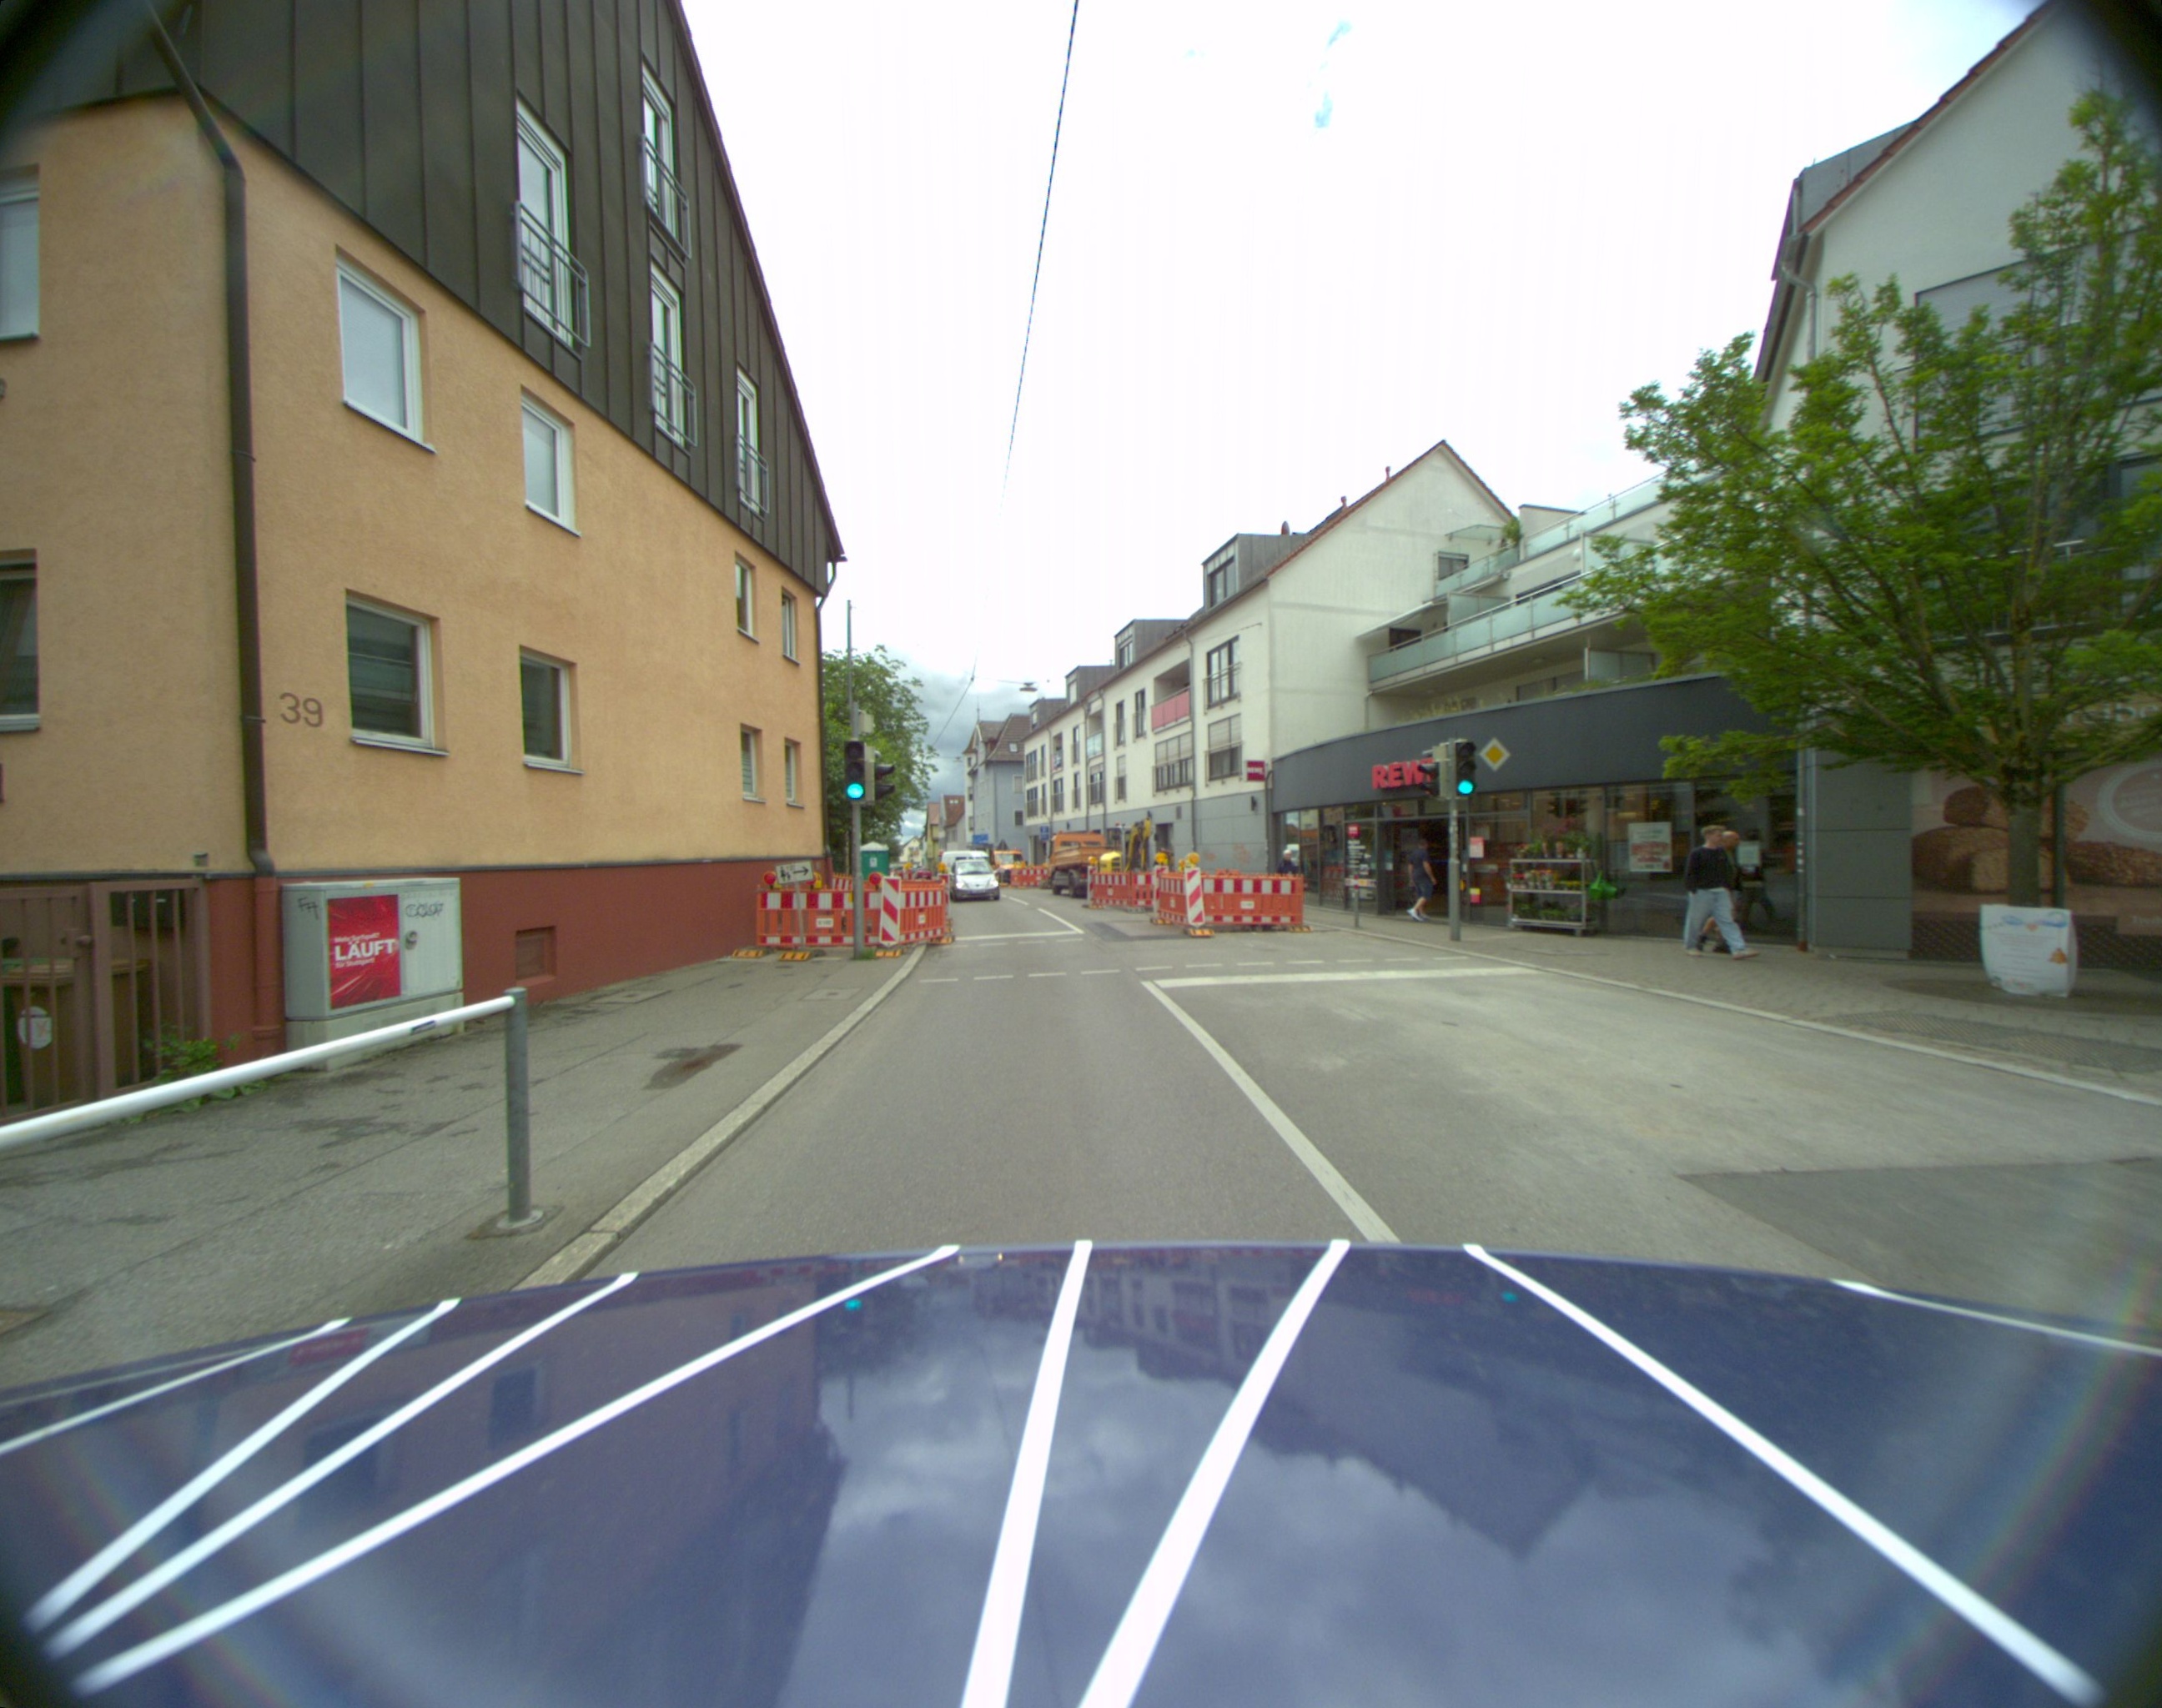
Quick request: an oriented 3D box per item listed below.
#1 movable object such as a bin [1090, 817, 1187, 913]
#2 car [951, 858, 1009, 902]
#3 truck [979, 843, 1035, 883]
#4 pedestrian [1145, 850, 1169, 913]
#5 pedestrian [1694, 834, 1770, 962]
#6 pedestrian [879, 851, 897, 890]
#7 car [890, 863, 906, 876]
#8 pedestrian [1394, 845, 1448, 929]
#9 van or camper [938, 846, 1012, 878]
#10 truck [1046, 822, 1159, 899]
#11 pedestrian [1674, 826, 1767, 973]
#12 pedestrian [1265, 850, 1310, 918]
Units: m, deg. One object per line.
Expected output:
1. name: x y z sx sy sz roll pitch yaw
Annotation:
1. movable object such as a bin: 1.699 0.285 24.142 1.846 2.747 4.500 -1 1 -12
2. car: -4.007 0.983 29.720 1.860 1.547 4.348 0 -1 -13
3. truck: -4.941 0.609 49.649 2.423 2.451 6.299 0 -1 -17
4. pedestrian: 2.123 0.767 21.226 0.539 1.734 0.443 -1 0 -10
5. pedestrian: 9.480 0.617 11.063 0.695 1.780 0.716 -2 0 -39
6. pedestrian: -9.712 0.821 38.149 0.801 1.938 0.835 0 0 -20
7. car: -23.221 1.953 96.495 1.821 1.511 2.937 -1 -1 -12
8. pedestrian: 7.629 0.721 17.059 0.756 1.833 0.787 -1 0 -22
9. van or camper: -8.929 0.699 63.761 6.190 2.591 2.332 -1 -1 34
10. truck: 0.617 0.265 30.178 2.741 2.708 6.840 -1 -1 -14
11. pedestrian: 8.773 0.593 10.431 0.818 1.914 0.782 -2 0 -36
12. pedestrian: 5.280 0.758 19.477 0.835 1.702 0.815 -1 0 -8
